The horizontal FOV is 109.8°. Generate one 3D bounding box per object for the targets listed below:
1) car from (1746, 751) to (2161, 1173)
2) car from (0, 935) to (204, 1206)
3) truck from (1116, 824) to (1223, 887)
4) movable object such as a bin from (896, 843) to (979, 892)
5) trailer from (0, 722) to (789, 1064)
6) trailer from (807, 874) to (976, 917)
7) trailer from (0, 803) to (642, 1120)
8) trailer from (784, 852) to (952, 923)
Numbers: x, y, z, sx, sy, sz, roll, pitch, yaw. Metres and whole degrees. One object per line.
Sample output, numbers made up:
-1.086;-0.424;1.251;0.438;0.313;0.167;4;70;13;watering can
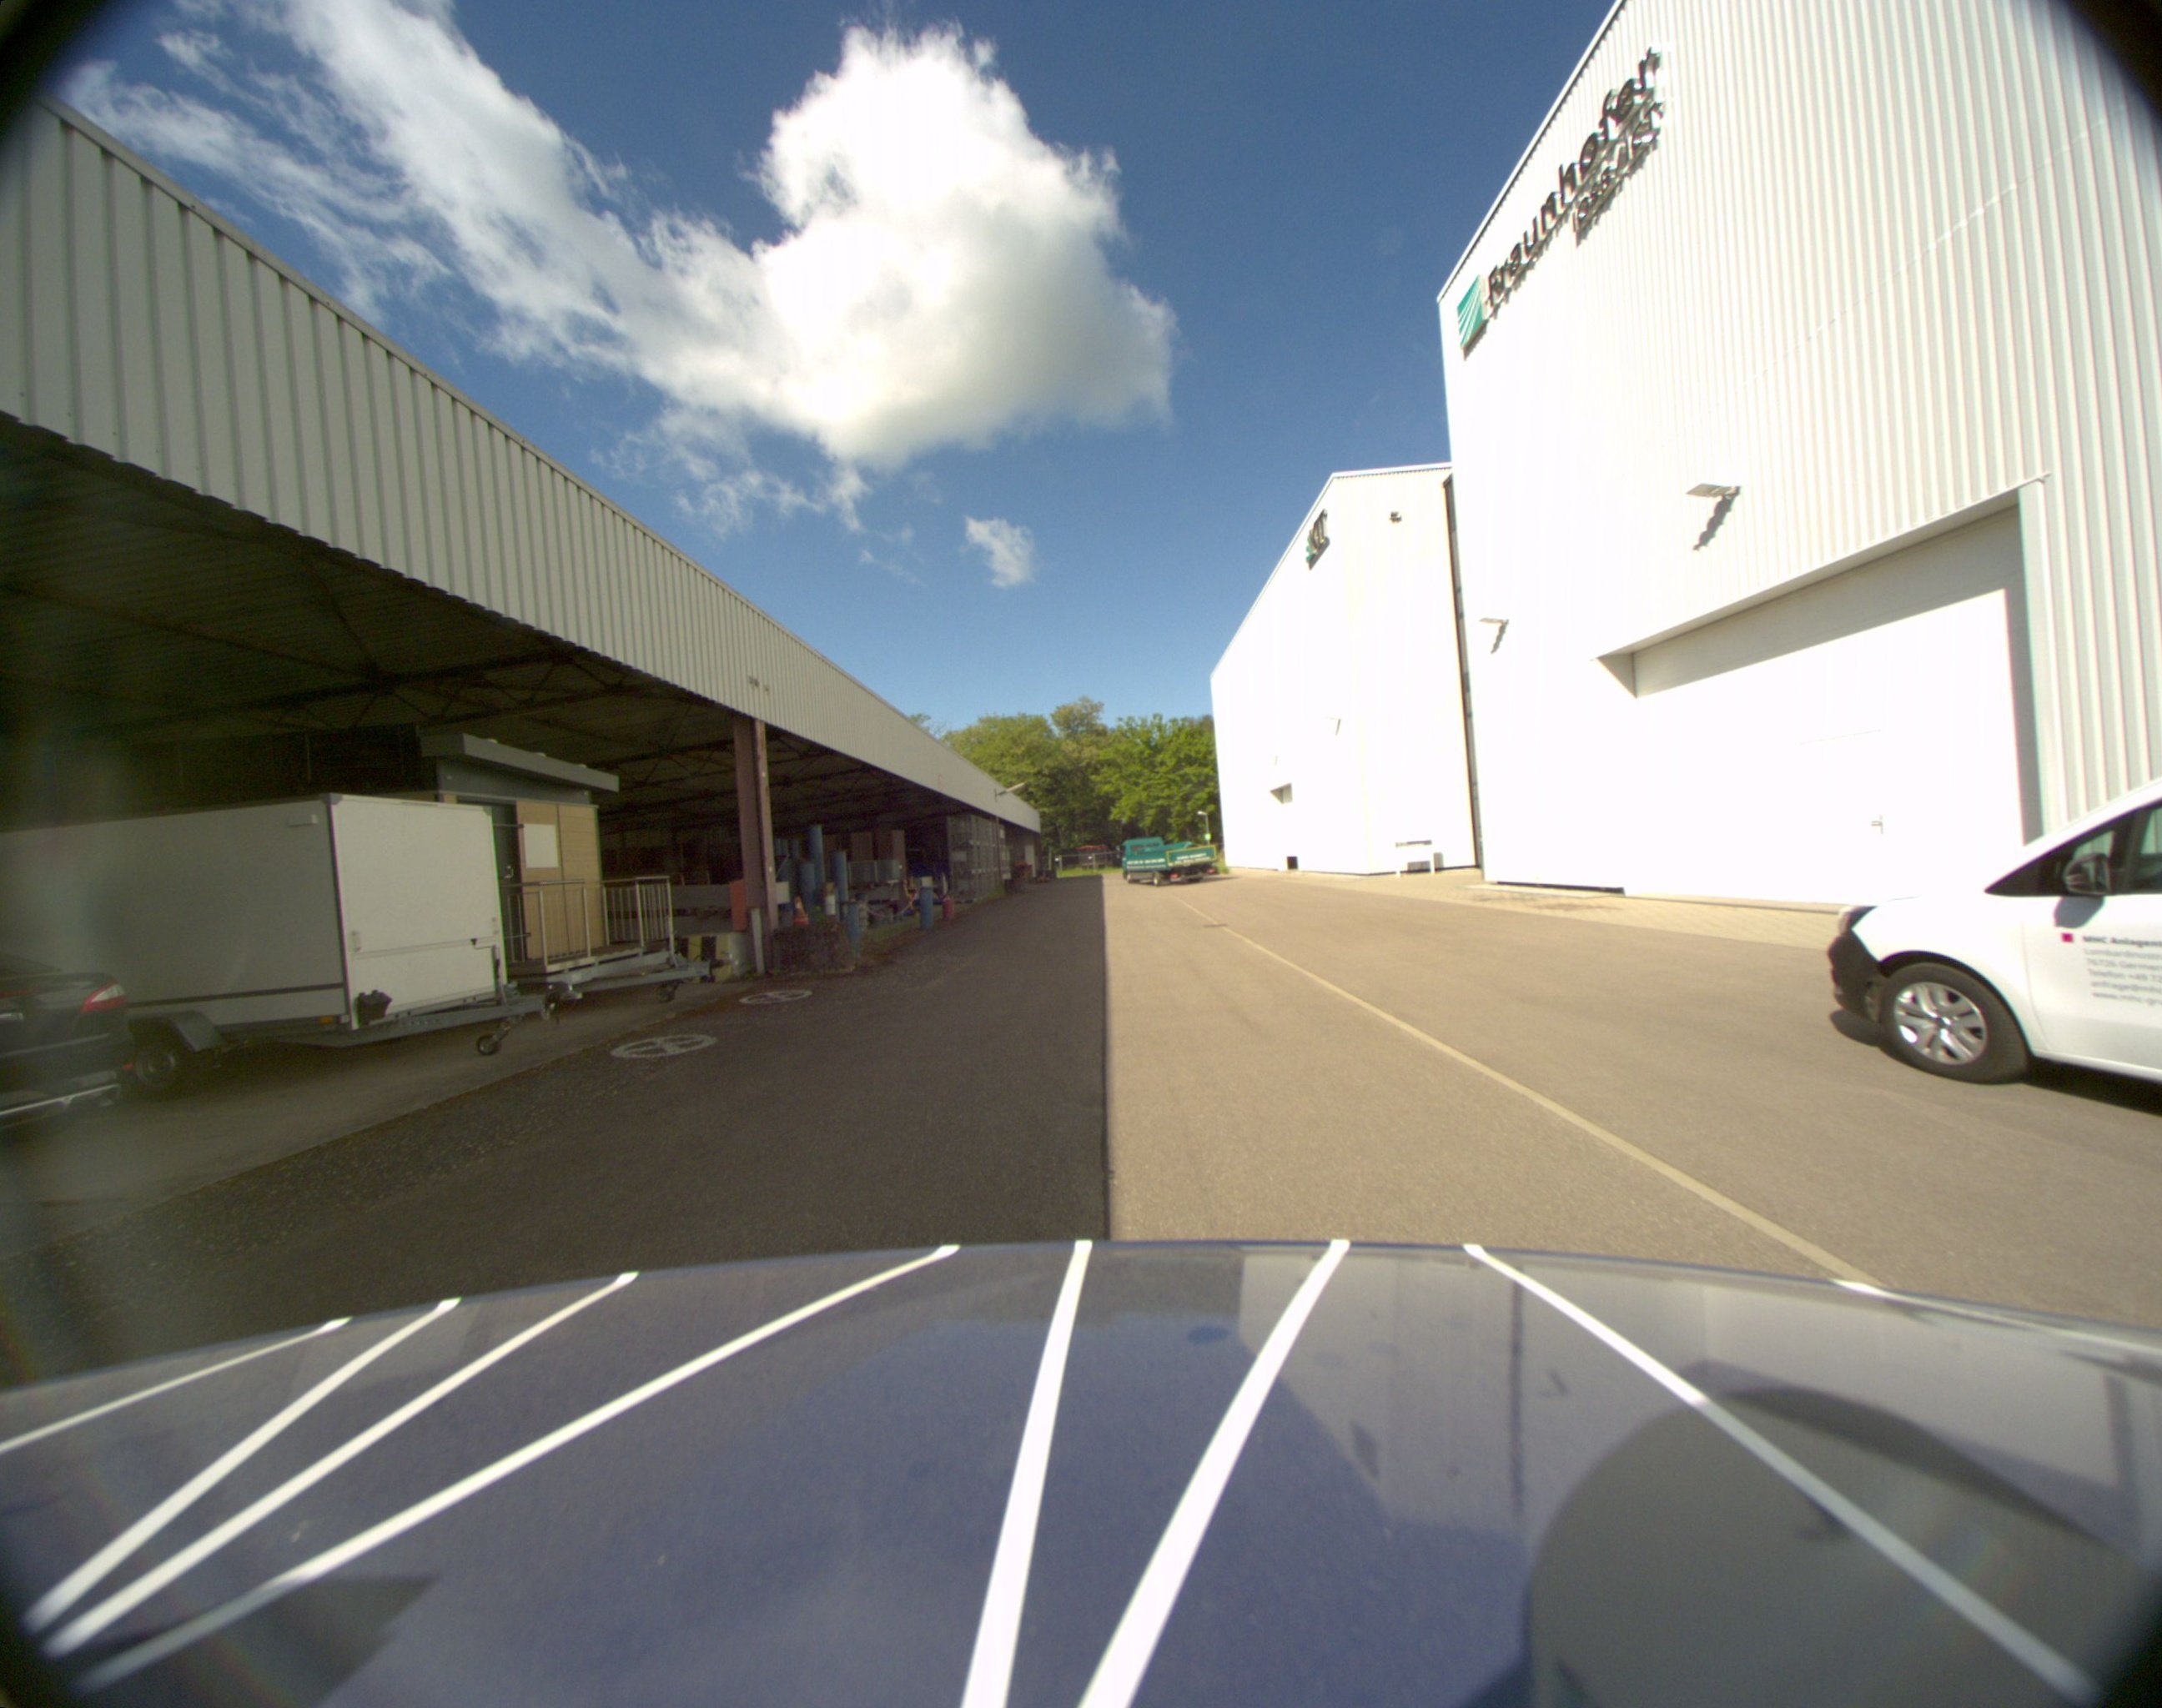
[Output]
5.458;0.376;2.795;1.933;1.779;4.598;-6;0;2;car
-8.314;1.387;4.300;4.355;1.425;1.864;-3;1;-2;car
4.431;0.191;40.665;2.589;2.701;9.688;-7;0;-11;truck
-8.796;0.853;46.874;4.626;2.706;2.000;-3;-1;0;movable object such as a bin
-9.365;0.519;9.439;10.317;3.276;2.675;-3;0;2;trailer
-6.994;1.523;28.494;5.748;1.126;2.009;-4;0;0;trailer
-6.766;0.879;6.853;4.552;2.321;1.689;-3;0;2;trailer
-6.961;1.068;25.154;4.828;1.985;2.047;-3;1;4;trailer
